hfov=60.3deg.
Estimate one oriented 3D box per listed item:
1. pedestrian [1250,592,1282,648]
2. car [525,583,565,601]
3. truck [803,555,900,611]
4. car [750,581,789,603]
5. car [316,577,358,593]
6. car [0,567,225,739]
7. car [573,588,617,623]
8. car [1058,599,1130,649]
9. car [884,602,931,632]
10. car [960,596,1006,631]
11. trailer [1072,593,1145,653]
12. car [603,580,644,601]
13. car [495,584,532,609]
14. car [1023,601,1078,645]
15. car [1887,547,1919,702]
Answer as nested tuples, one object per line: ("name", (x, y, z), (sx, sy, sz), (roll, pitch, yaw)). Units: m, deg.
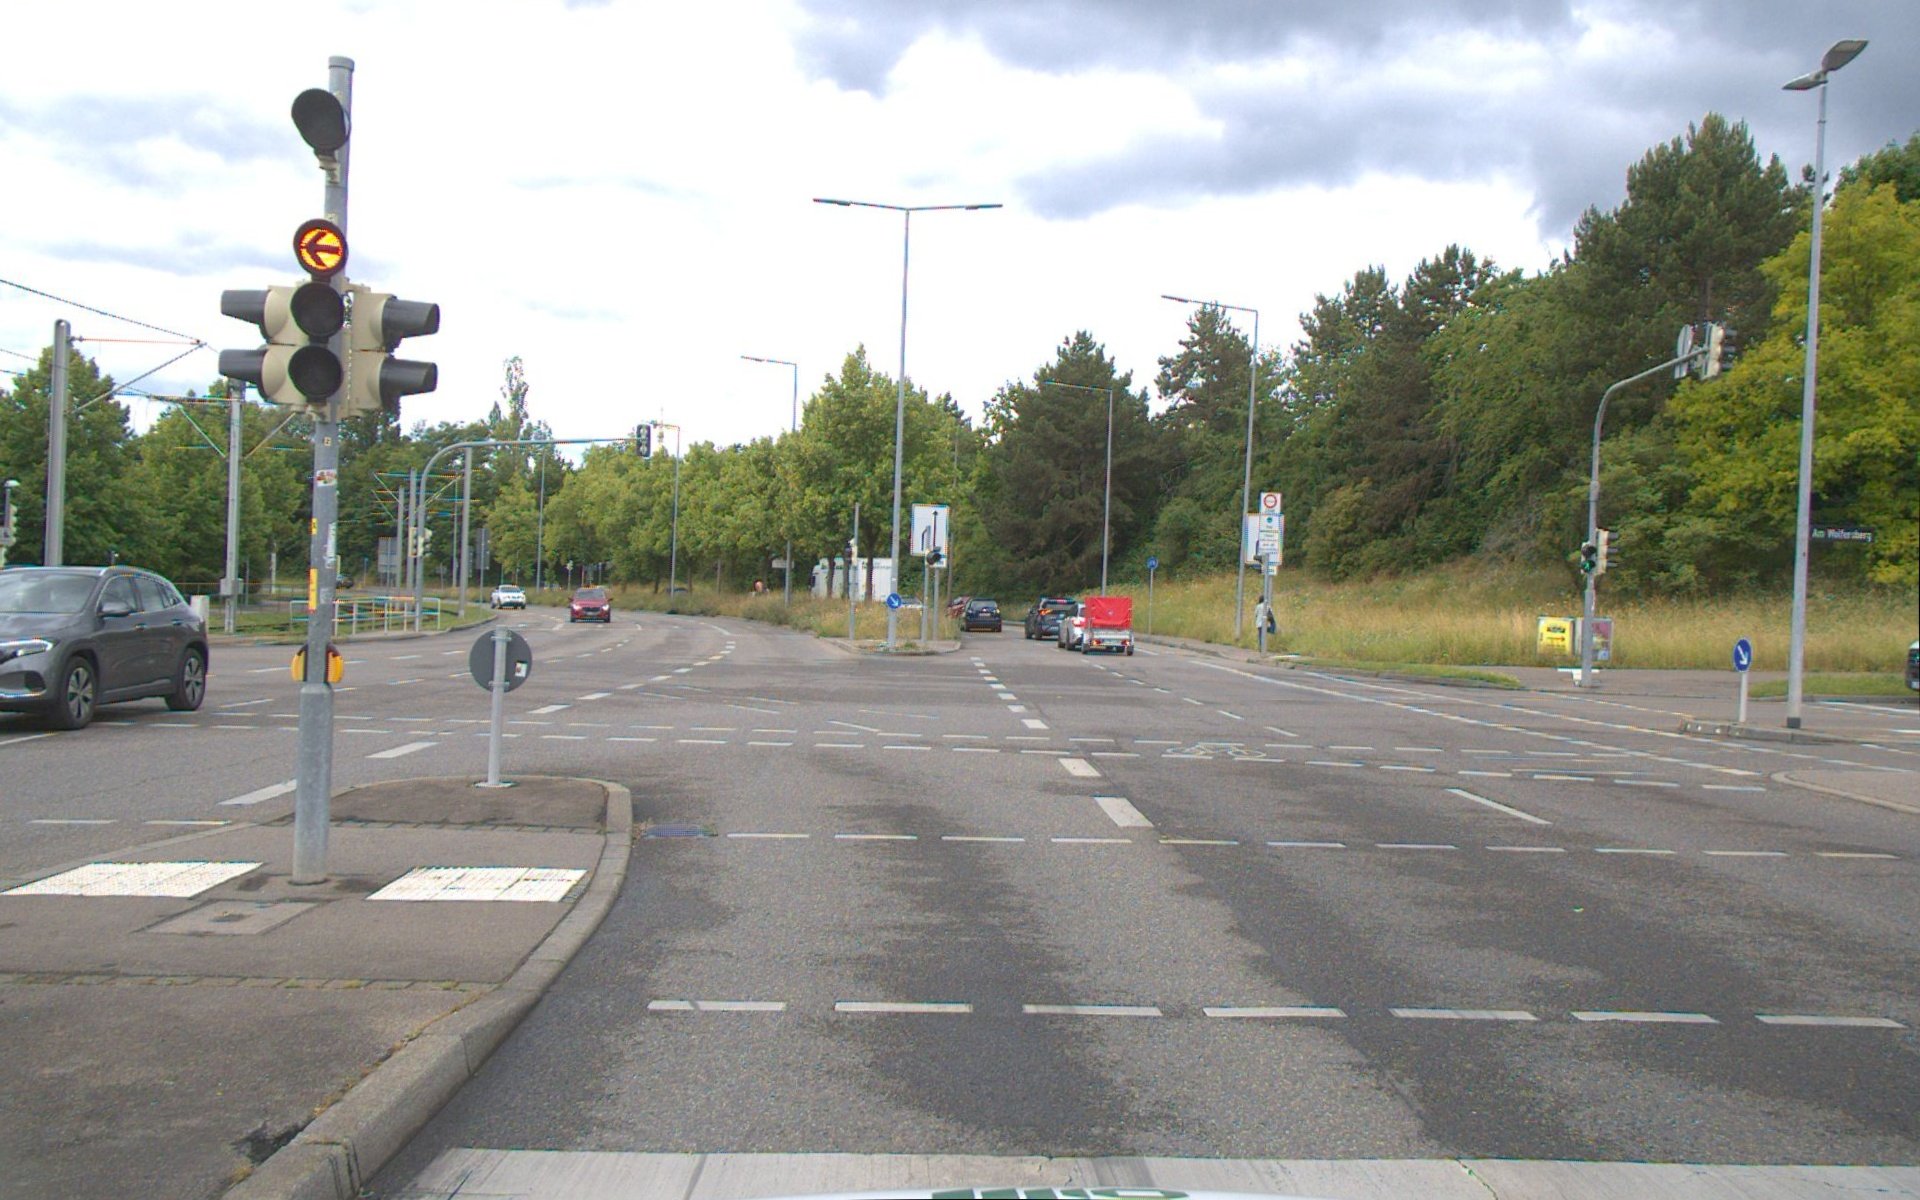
("pedestrian", (9.125, 0.594, 49.333), (0.797, 1.656, 0.790), (1, 0, -1))
("car", (-38.065, -0.737, 151.623), (1.770, 1.573, 3.959), (1, 1, -44))
("truck", (-7.078, -1.089, 105.616), (2.702, 3.387, 11.328), (1, 0, -22))
("car", (-13.926, -0.586, 120.726), (1.754, 1.573, 3.995), (1, 0, -24))
("car", (-63.775, -1.524, 169.233), (3.931, 1.573, 1.783), (1, 0, 24))
("car", (-9.424, 0.455, 17.216), (1.742, 1.573, 4.223), (1, 0, -2))
("car", (-15.983, 0.208, 72.289), (1.751, 1.468, 4.409), (0, 0, -14))
("car", (4.150, 0.717, 51.868), (1.742, 1.446, 4.457), (1, 0, -2))
("car", (-2.938, 0.924, 91.700), (1.749, 1.573, 4.008), (1, 0, -15))
("car", (1.045, 0.617, 77.610), (1.743, 1.573, 4.020), (1, 0, -5))
("trailer", (4.281, 0.648, 48.119), (1.729, 1.644, 3.043), (1, 0, -2))
("car", (-28.488, -0.829, 139.955), (1.978, 1.713, 3.949), (1, 0, -36))
("car", (-30.027, -0.233, 111.167), (1.804, 1.657, 4.395), (0, 0, -23))
("car", (3.493, 0.863, 64.290), (1.742, 1.573, 4.023), (1, 0, -2))
("car", (20.338, 0.466, 30.091), (5.772, 2.830, 2.135), (0, 0, -1))
